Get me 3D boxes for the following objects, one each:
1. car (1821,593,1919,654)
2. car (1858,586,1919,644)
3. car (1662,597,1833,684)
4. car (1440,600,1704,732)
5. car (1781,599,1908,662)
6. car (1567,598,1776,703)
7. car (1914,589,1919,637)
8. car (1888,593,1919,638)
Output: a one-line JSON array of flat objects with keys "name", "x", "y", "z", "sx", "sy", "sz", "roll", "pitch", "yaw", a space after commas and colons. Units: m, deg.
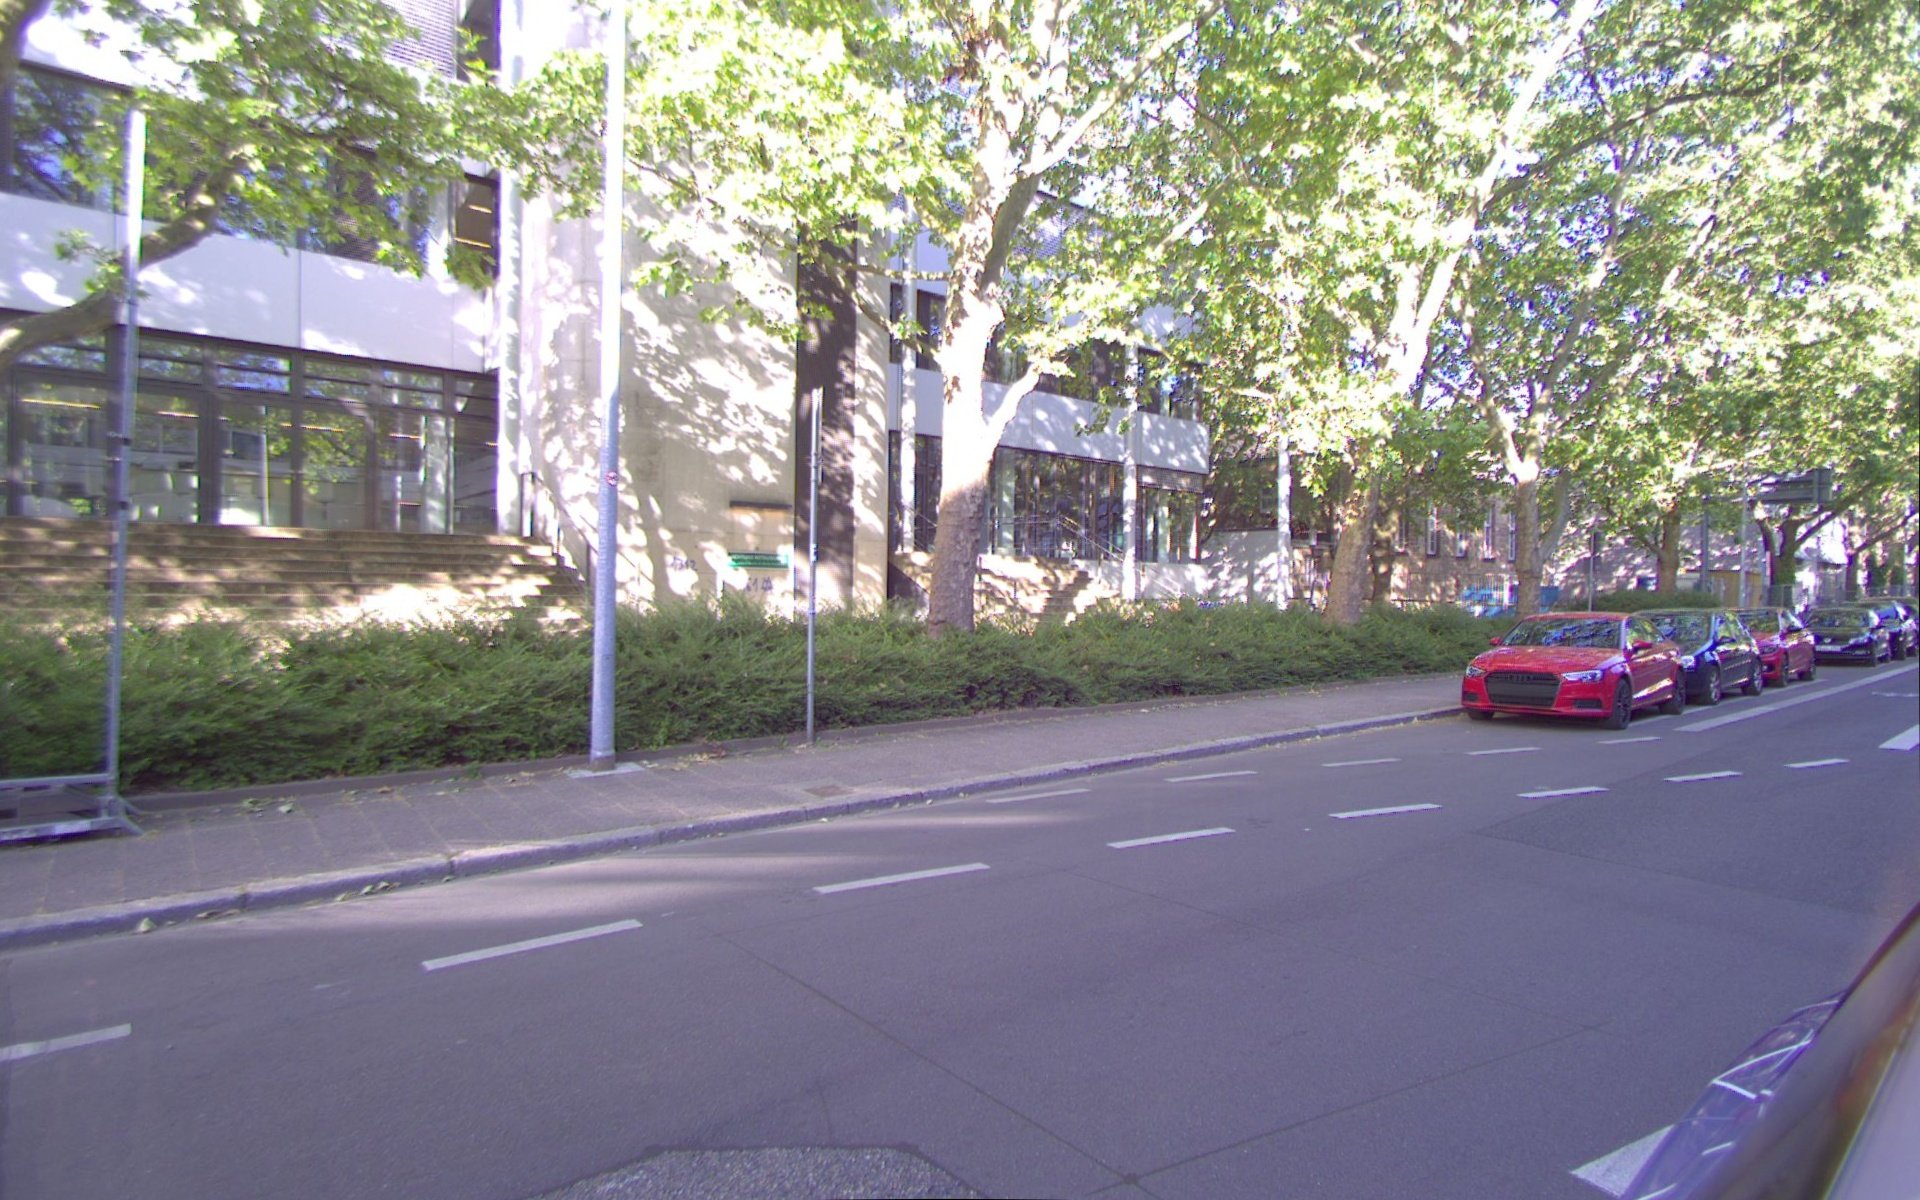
[{"name": "car", "x": 26.520, "y": 0.609, "z": 29.180, "sx": 4.070, "sy": 1.621, "sz": 1.997, "roll": -1, "pitch": 0, "yaw": -41}, {"name": "car", "x": 31.257, "y": 0.450, "z": 33.308, "sx": 4.493, "sy": 1.809, "sz": 1.997, "roll": -1, "pitch": 0, "yaw": -41}, {"name": "car", "x": 15.643, "y": 0.718, "z": 20.049, "sx": 3.762, "sy": 1.517, "sz": 1.997, "roll": -1, "pitch": 0, "yaw": -41}, {"name": "car", "x": 8.252, "y": 0.753, "z": 13.518, "sx": 3.930, "sy": 1.443, "sz": 1.906, "roll": -1, "pitch": 0, "yaw": -41}, {"name": "car", "x": 22.793, "y": 0.722, "z": 26.058, "sx": 3.527, "sy": 1.474, "sz": 1.997, "roll": -1, "pitch": 0, "yaw": -41}, {"name": "car", "x": 11.685, "y": 0.730, "z": 16.569, "sx": 3.581, "sy": 1.478, "sz": 1.997, "roll": -1, "pitch": 0, "yaw": -41}, {"name": "car", "x": 39.605, "y": 0.484, "z": 40.287, "sx": 3.930, "sy": 1.872, "sz": 1.997, "roll": -1, "pitch": 0, "yaw": -41}, {"name": "car", "x": 35.991, "y": 0.550, "z": 37.451, "sx": 4.070, "sy": 1.585, "sz": 1.997, "roll": -1, "pitch": 0, "yaw": -41}]
